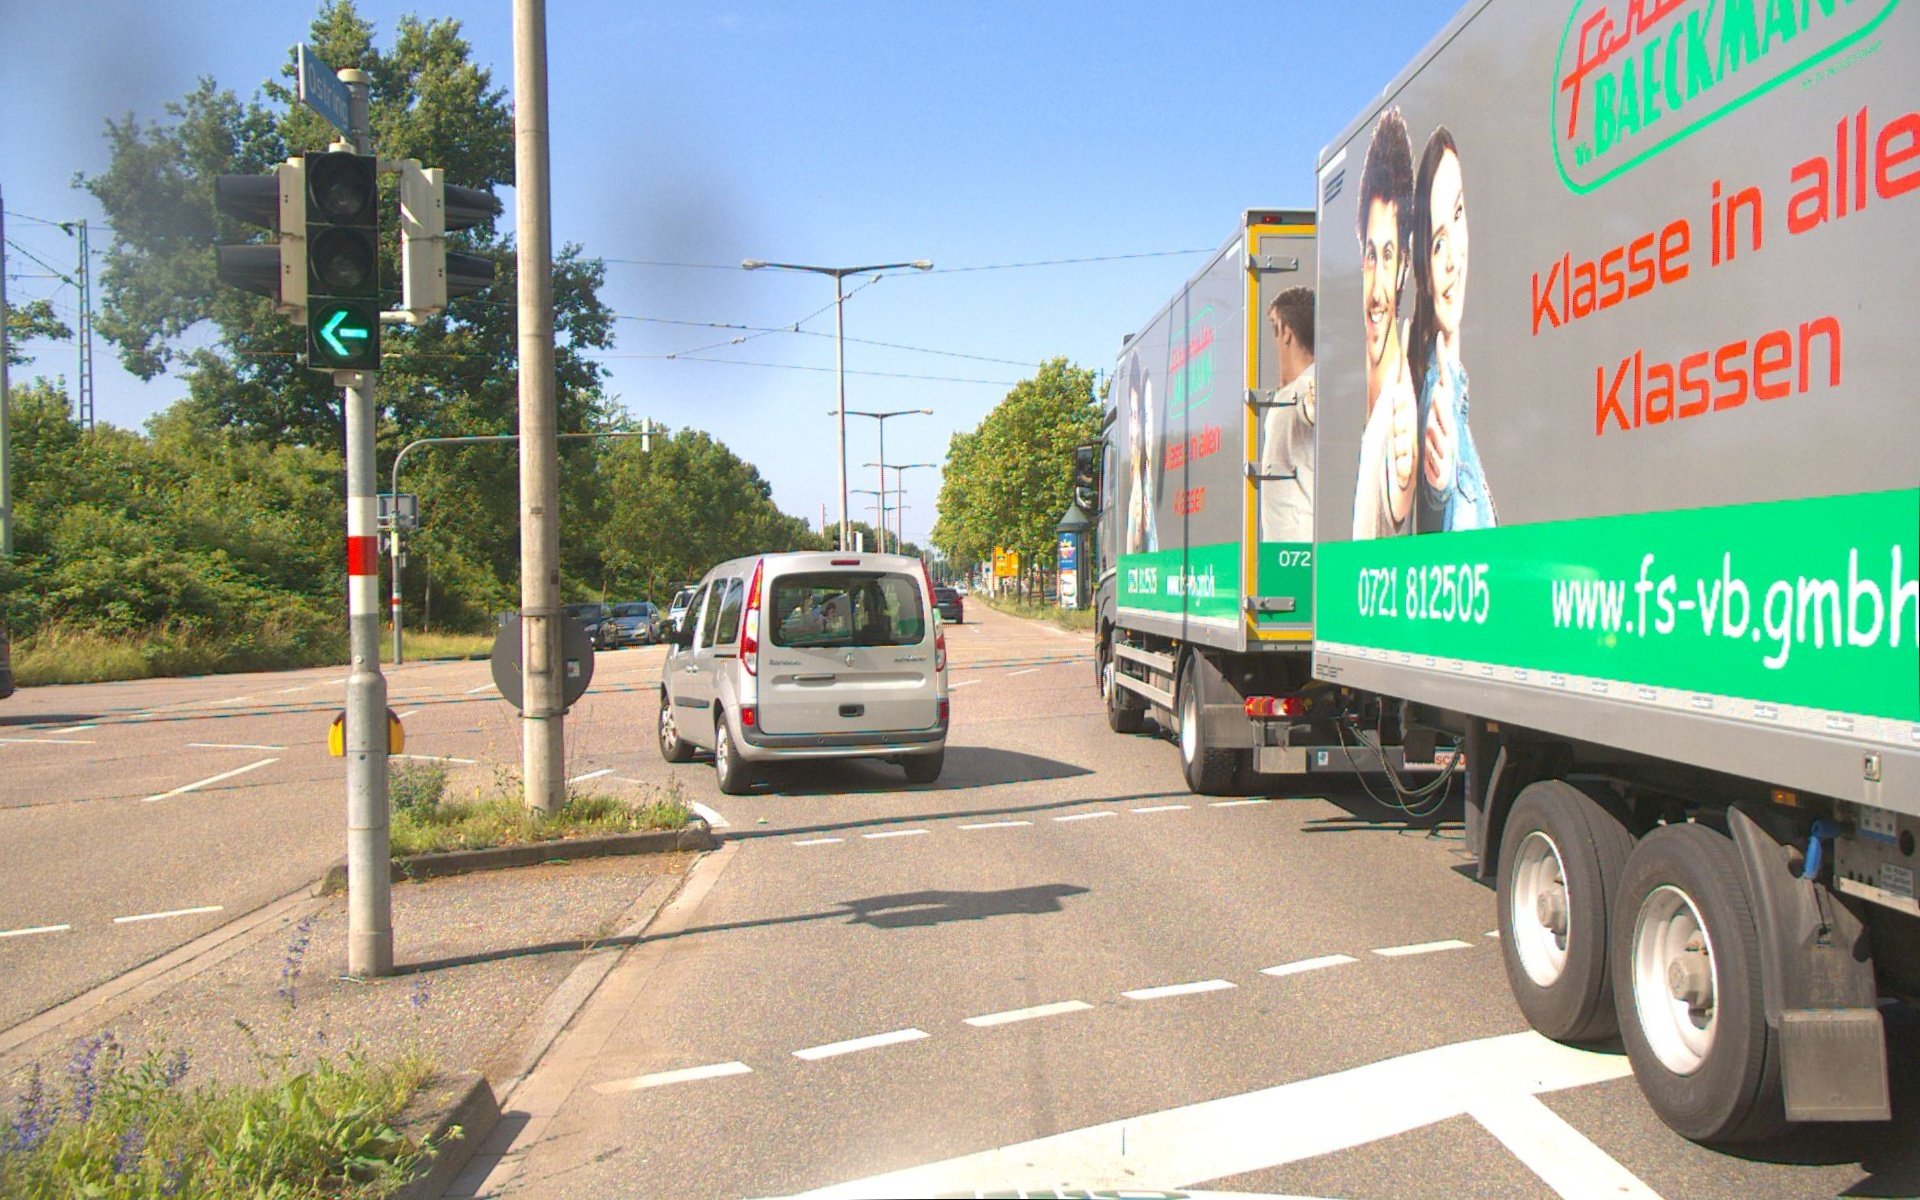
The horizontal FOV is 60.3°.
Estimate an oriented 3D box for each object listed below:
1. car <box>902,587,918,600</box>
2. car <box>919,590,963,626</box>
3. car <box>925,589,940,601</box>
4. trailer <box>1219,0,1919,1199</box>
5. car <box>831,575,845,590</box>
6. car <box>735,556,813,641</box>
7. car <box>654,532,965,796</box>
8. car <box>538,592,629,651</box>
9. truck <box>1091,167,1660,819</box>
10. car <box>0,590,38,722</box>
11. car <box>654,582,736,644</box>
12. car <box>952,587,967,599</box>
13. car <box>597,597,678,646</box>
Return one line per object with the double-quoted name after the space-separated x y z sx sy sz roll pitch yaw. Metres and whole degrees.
-6.616 -0.835 219.287 1.953 1.613 4.456 1 0 0 "car"
-0.841 0.359 76.179 1.953 1.613 4.456 1 0 0 "car"
-3.641 -0.644 219.571 1.953 1.613 4.456 1 0 0 "car"
3.012 -0.683 6.188 2.681 3.944 7.733 -1 0 -1 "trailer"
-17.641 -2.518 239.497 1.850 2.049 3.999 1 0 -1 "car"
-6.132 -0.047 55.065 1.953 2.653 5.133 -2 0 0 "car"
-1.415 0.462 13.935 1.759 1.870 3.979 1 0 -18 "car"
-11.447 0.632 50.497 1.872 1.670 3.737 -2 0 0 "car"
2.888 -0.654 14.473 2.674 3.957 8.721 -1 0 -1 "truck"
-14.435 0.787 21.150 4.131 1.691 1.935 -2 1 -4 "car"
-8.797 0.424 55.283 1.953 1.902 4.773 -2 0 0 "car"
-0.063 -0.916 227.642 1.953 1.613 4.456 1 0 0 "car"
-11.161 0.727 57.523 1.953 1.567 4.236 -2 0 0 "car"
